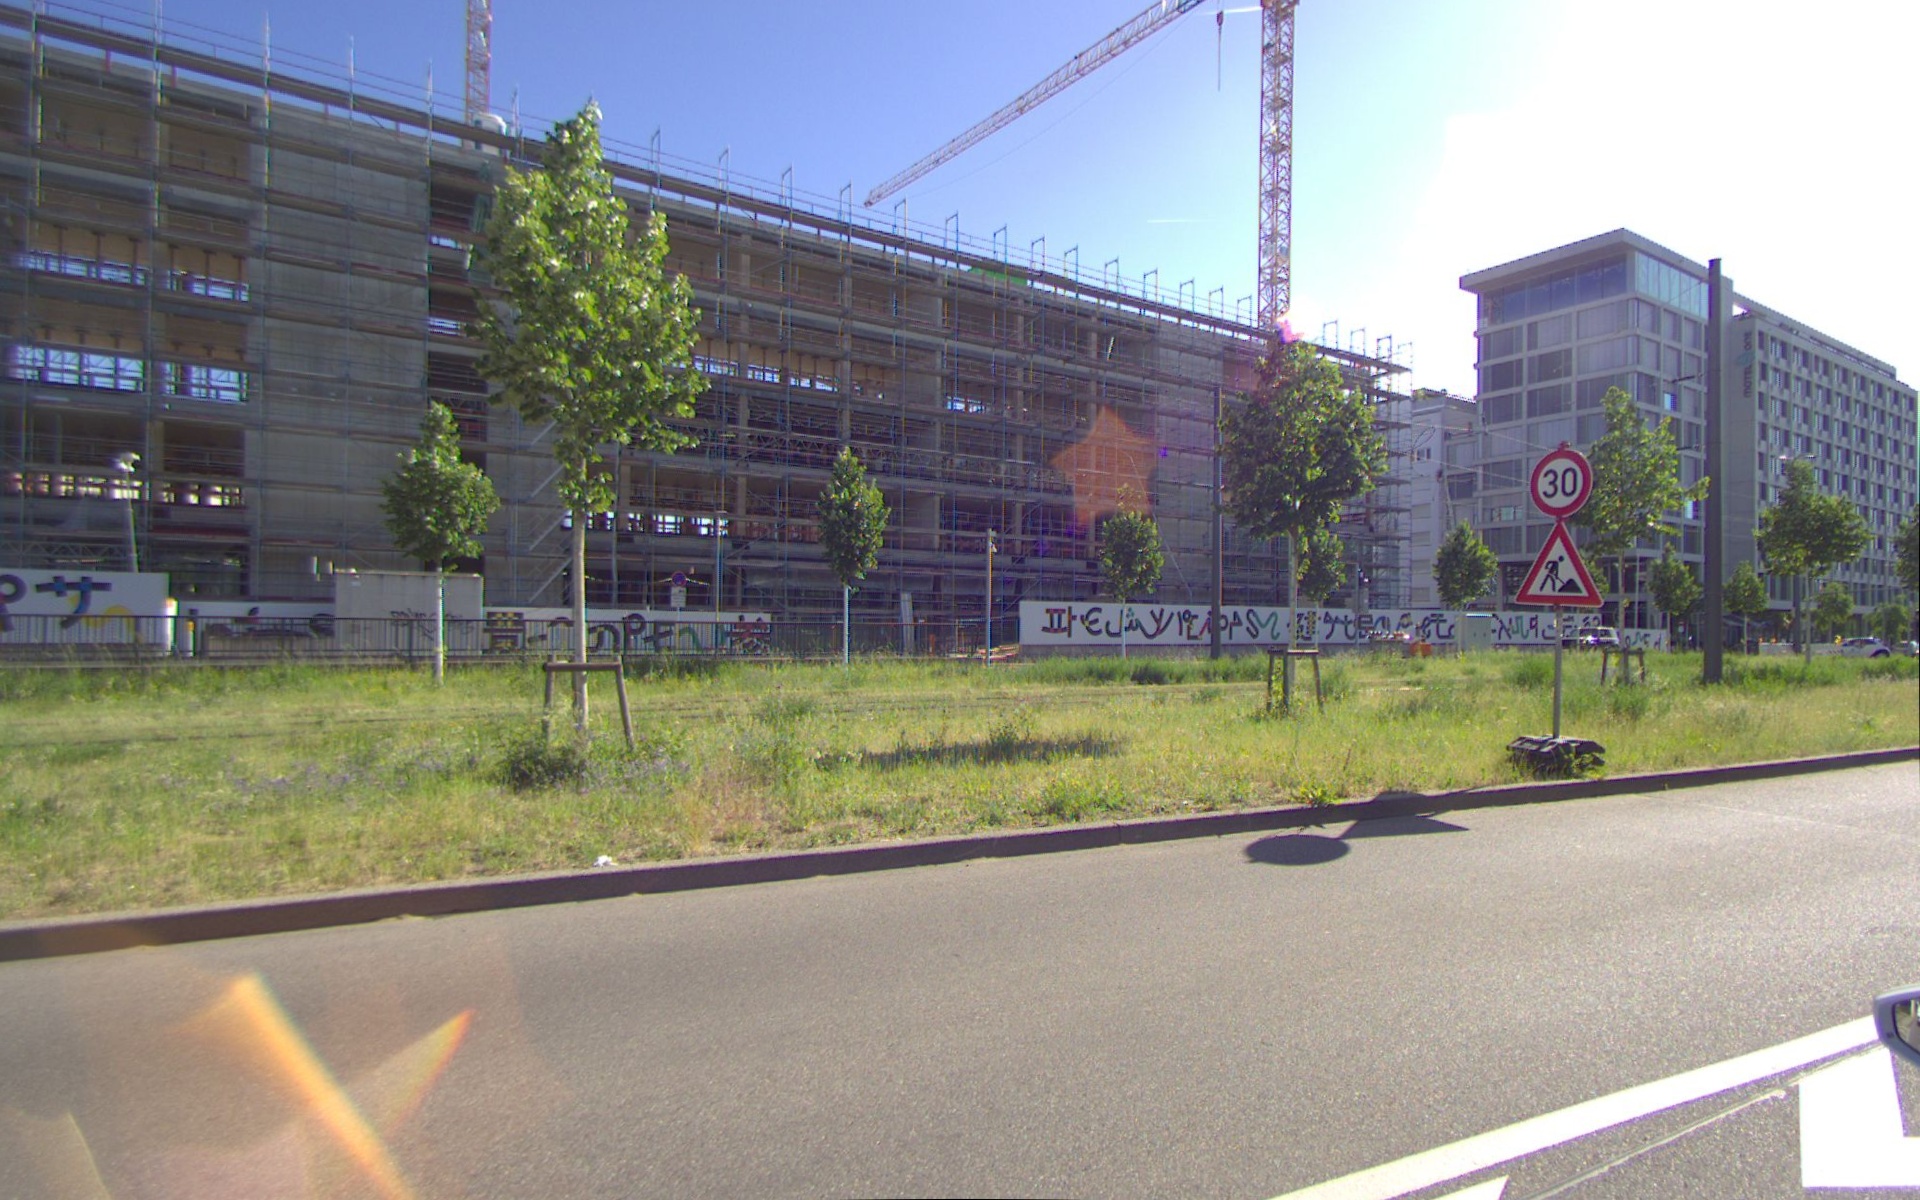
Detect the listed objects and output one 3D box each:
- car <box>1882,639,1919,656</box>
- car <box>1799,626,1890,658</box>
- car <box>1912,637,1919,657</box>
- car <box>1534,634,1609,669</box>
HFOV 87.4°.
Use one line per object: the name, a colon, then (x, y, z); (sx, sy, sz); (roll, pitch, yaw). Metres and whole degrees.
car: (92.041, 4.637, 98.240); (3.957, 1.673, 1.780); (2, -2, -33)
car: (56.513, 2.641, 64.265); (3.909, 1.943, 1.914); (0, -1, 23)
car: (83.399, 4.078, 86.048); (3.957, 1.673, 1.780); (2, -2, -33)
car: (35.566, 2.965, 58.415); (4.275, 1.943, 1.901); (2, -1, -29)
